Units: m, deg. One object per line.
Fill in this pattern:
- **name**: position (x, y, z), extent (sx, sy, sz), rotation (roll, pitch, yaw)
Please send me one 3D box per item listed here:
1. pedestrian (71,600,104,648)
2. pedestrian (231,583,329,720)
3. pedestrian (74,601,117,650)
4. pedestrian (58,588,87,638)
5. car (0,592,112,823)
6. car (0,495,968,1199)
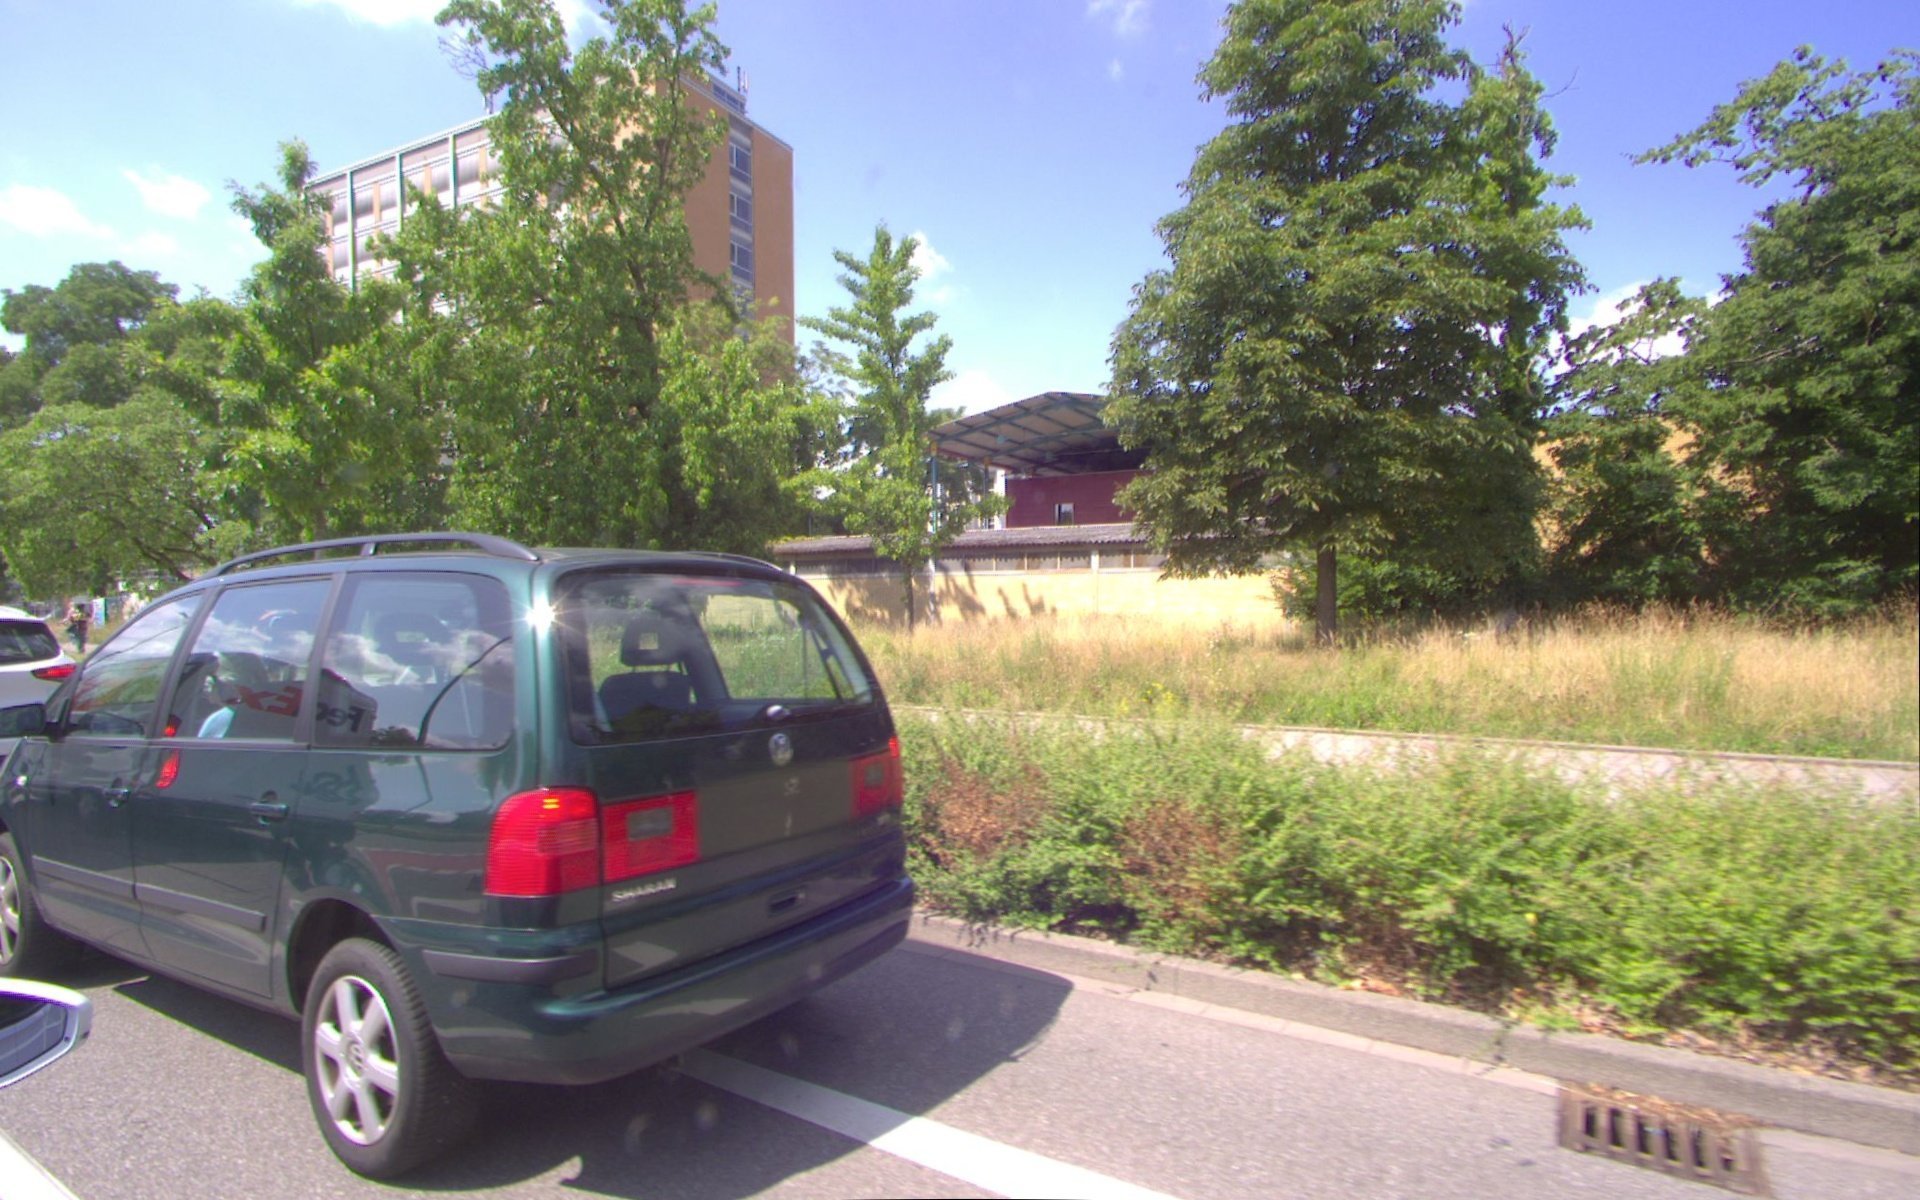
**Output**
- **pedestrian**: position (-37.858, 1.040, 43.453), extent (0.727, 2.040, 0.846), rotation (0, 0, 18)
- **pedestrian**: position (-9.871, 0.725, 14.551), extent (0.762, 1.917, 0.948), rotation (0, 0, 32)
- **pedestrian**: position (-28.032, 0.826, 32.468), extent (0.823, 1.559, 0.843), rotation (0, 0, 32)
- **pedestrian**: position (-37.578, 0.552, 42.405), extent (0.730, 2.085, 0.843), rotation (0, 1, -29)
- **car**: position (-8.866, 0.804, 8.337), extent (3.945, 1.710, 1.793), rotation (0, 0, 34)
- **car**: position (-2.274, 0.685, 4.041), extent (4.325, 1.757, 1.809), rotation (0, -1, 32)
